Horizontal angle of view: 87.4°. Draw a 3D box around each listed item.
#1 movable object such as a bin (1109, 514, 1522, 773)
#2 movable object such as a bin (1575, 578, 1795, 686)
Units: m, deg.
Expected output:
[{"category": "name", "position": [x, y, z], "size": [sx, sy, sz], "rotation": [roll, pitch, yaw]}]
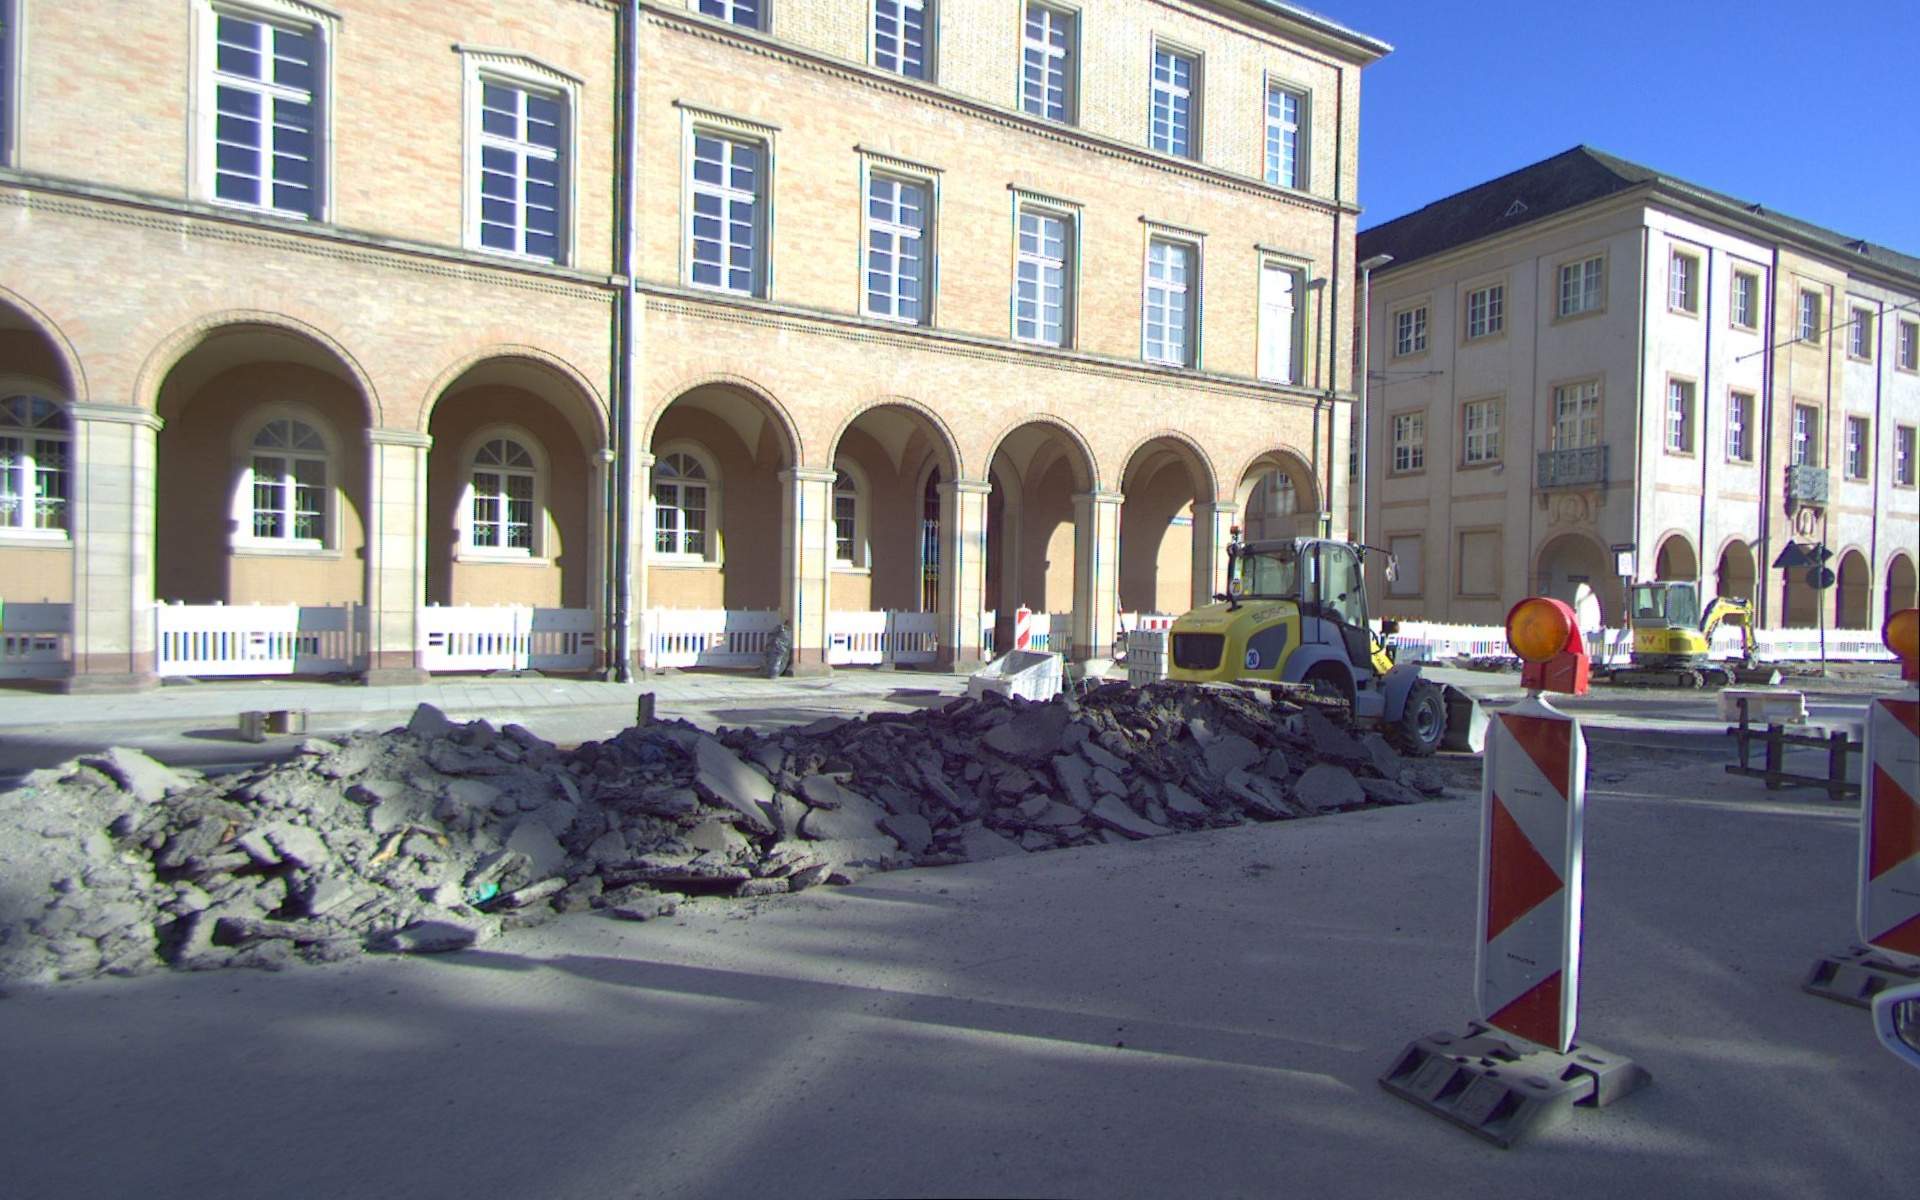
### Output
[{"category": "movable object such as a bin", "position": [4.197, 0.411, 11.756], "size": [4.560, 2.508, 2.065], "rotation": [0, 1, -29]}, {"category": "movable object such as a bin", "position": [17.528, 0.737, 24.315], "size": [4.400, 2.380, 2.538], "rotation": [1, 0, -26]}]
